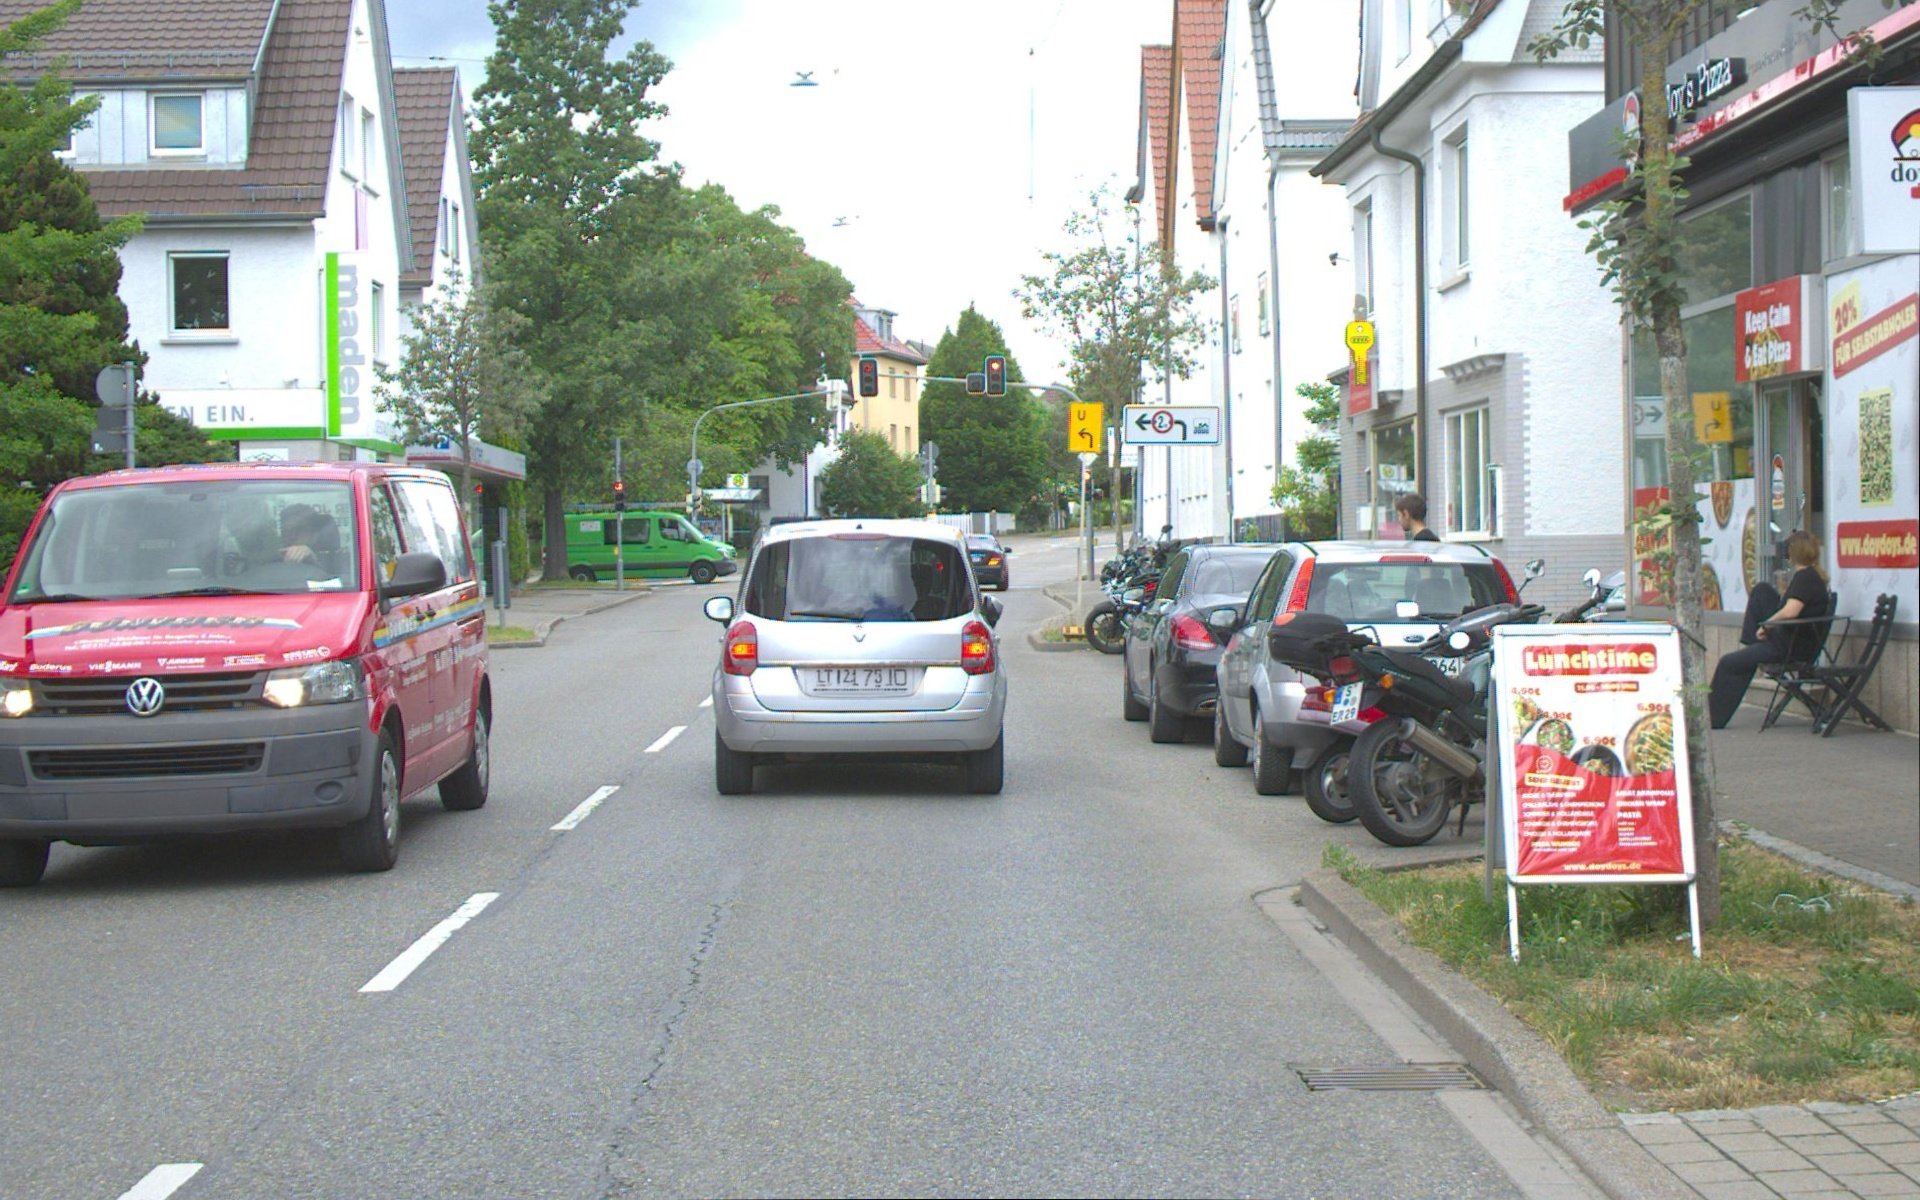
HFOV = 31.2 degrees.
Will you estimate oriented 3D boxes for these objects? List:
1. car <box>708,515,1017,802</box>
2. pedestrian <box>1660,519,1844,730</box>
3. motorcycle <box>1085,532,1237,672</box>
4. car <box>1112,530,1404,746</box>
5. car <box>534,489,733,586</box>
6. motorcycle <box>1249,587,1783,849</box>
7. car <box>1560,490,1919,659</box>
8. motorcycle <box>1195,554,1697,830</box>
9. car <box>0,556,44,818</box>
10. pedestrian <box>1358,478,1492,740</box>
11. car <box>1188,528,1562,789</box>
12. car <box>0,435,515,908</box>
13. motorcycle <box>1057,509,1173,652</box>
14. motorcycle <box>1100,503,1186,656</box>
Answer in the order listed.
[{"bbox_3d":[-0.543,0.288,20.915,1.682,1.560,3.993,1,1,0],"label":"car"},{"bbox_3d":[5.189,0.148,22.585,0.887,1.295,0.966,-4,1,0],"label":"pedestrian"},{"bbox_3d":[2.134,0.000,36.061,0.699,1.404,2.713,1,1,23],"label":"motorcycle"},{"bbox_3d":[2.132,0.224,25.627,1.700,1.462,4.239,0,1,-1],"label":"car"},{"bbox_3d":[-9.949,-1.913,105.000,5.929,2.897,2.255,0,1,-2],"label":"car"},{"bbox_3d":[2.720,0.532,16.629,2.728,1.179,0.700,0,1,-31],"label":"motorcycle"},{"bbox_3d":[7.956,-0.253,33.260,3.980,1.560,1.688,1,1,0],"label":"car"},{"bbox_3d":[2.527,0.437,17.671,2.707,1.331,0.700,0,1,-31],"label":"motorcycle"},{"bbox_3d":[-6.351,0.557,17.851,1.948,1.462,4.516,-3,1,0],"label":"car"},{"bbox_3d":[3.470,0.057,25.708,0.857,1.921,0.900,0,1,-1],"label":"pedestrian"},{"bbox_3d":[2.408,0.288,20.817,1.700,1.425,3.891,0,1,-1],"label":"car"},{"bbox_3d":[-3.587,0.273,17.356,1.948,1.955,5.223,-3,1,0],"label":"car"},{"bbox_3d":[1.815,-0.244,40.625,0.697,1.633,2.410,0,1,-14],"label":"motorcycle"},{"bbox_3d":[2.035,-0.239,37.981,0.698,1.633,2.408,0,1,9],"label":"motorcycle"}]
